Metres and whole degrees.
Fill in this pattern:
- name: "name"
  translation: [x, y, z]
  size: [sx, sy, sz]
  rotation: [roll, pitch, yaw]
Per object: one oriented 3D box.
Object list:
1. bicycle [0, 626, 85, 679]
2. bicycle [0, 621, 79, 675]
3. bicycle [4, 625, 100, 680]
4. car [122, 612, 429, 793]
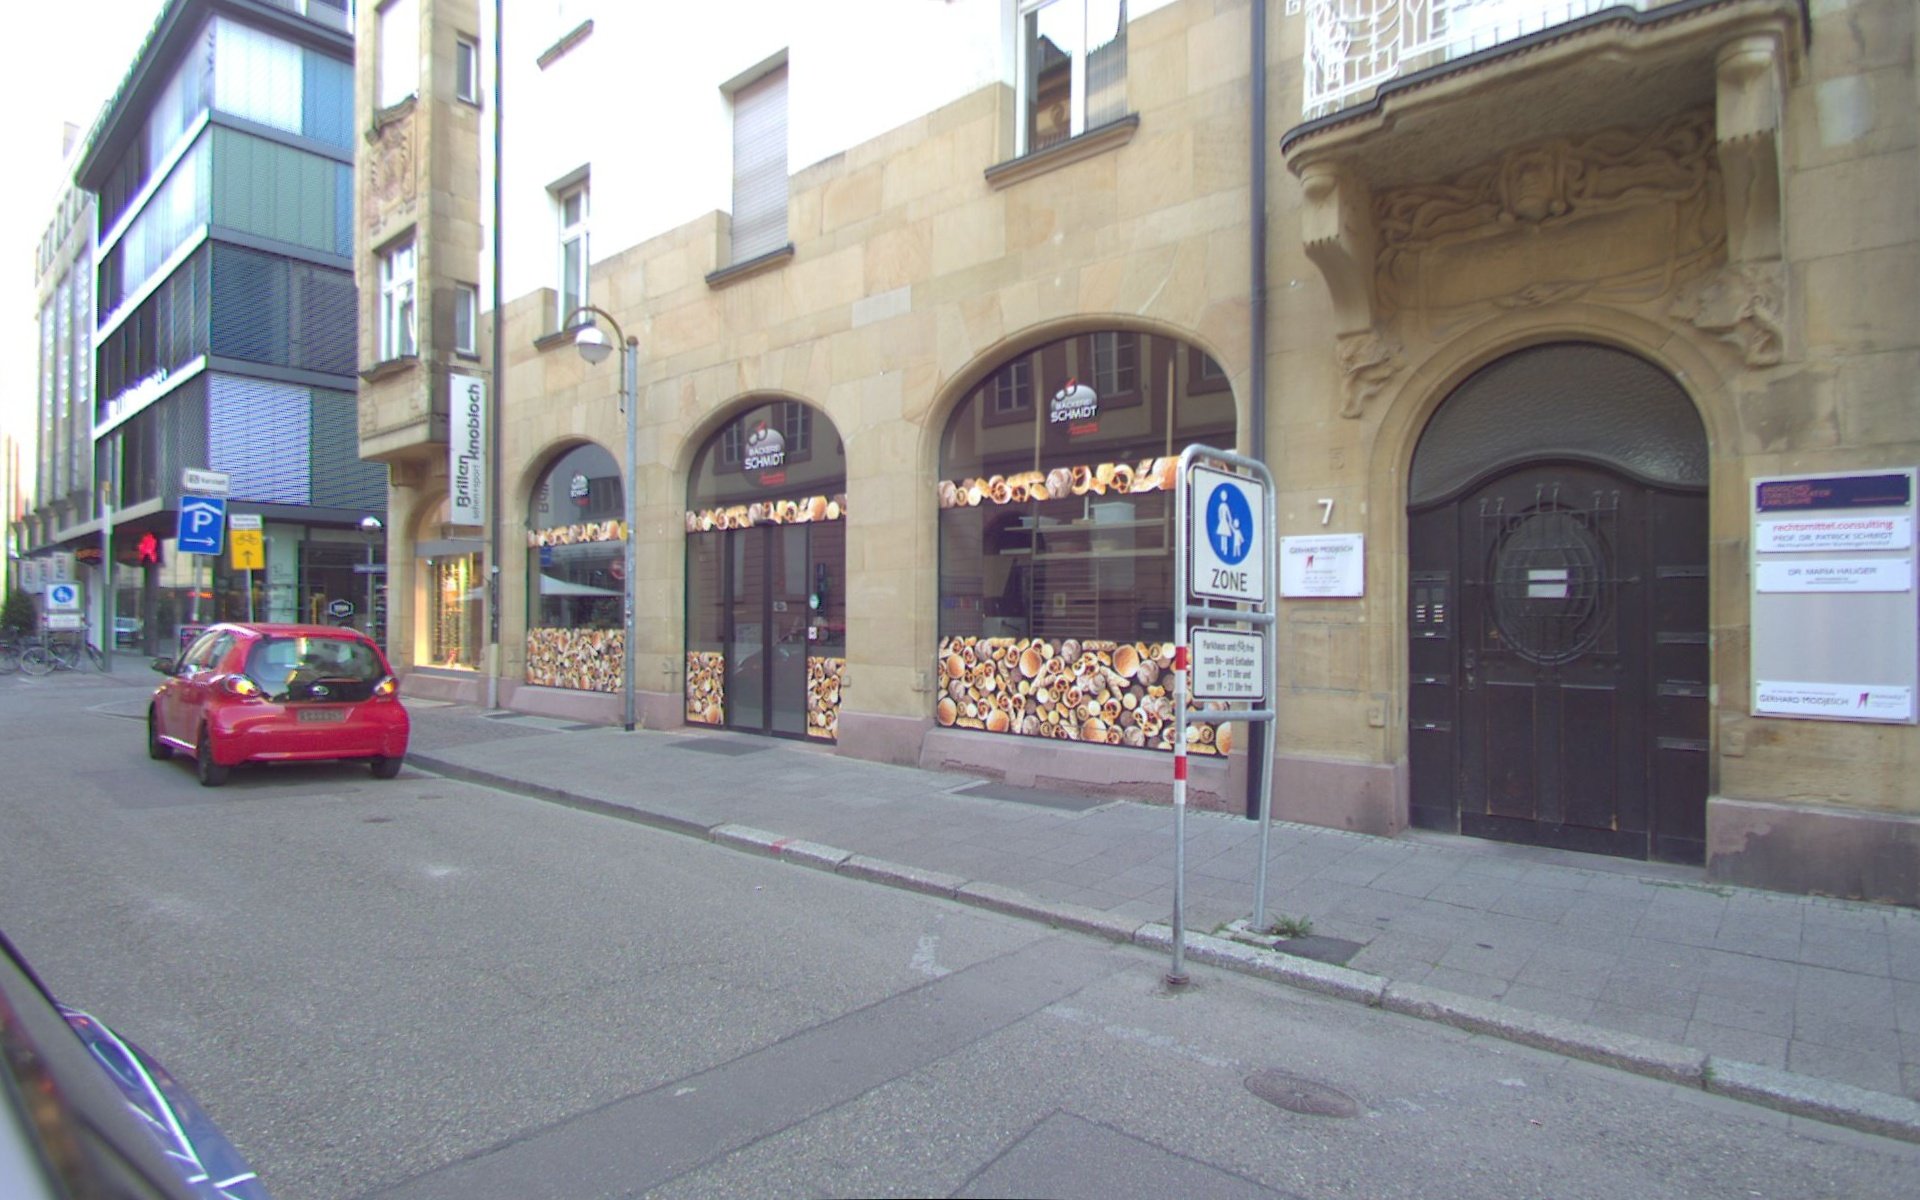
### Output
- name: "bicycle"
  translation: [-22.979, 1.297, 25.063]
  size: [0.517, 1.190, 1.878]
  rotation: [-3, -1, 40]
- name: "bicycle"
  translation: [-24.875, 1.284, 27.063]
  size: [0.538, 1.279, 1.878]
  rotation: [-1, 2, 41]
- name: "bicycle"
  translation: [-21.712, 1.246, 24.216]
  size: [0.509, 1.213, 1.648]
  rotation: [-1, 0, 40]
- name: "car"
  translation: [-7.102, 0.933, 10.342]
  size: [3.931, 1.481, 1.640]
  rotation: [0, -5, 43]
